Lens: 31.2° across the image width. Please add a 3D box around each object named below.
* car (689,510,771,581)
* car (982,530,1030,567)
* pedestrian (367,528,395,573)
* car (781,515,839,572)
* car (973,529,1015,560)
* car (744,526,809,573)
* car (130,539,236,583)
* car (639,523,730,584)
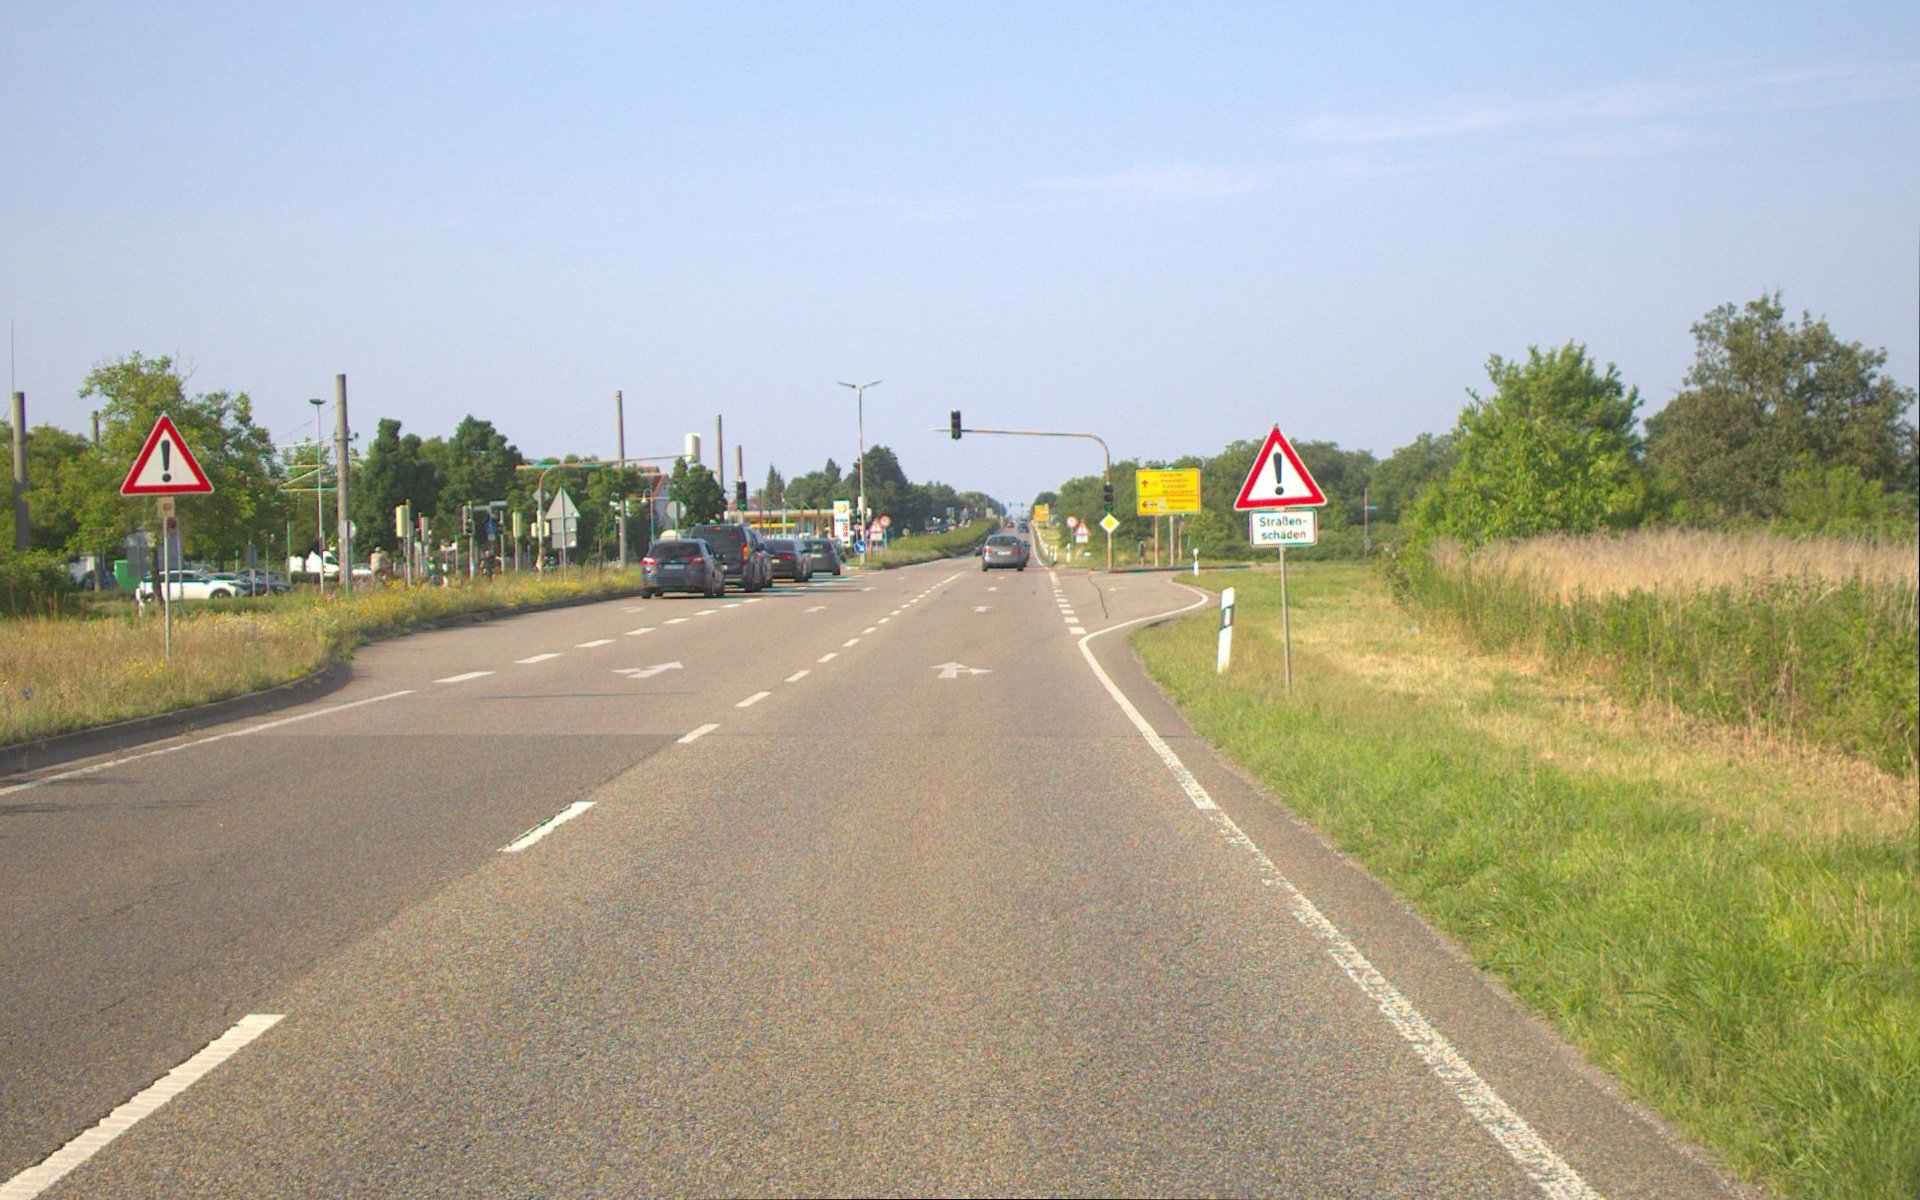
[{"bbox_3d":[-6.168,-1.479,92.590,1.732,1.849,4.520,-1,1,2],"label":"car"},{"bbox_3d":[2.007,-2.235,149.419,1.993,1.546,4.000,-1,1,2],"label":"car"},{"bbox_3d":[-21.995,-1.882,130.562,0.915,1.700,1.067,1,0,-4],"label":"pedestrian"},{"bbox_3d":[-5.741,-2.156,131.548,1.993,2.007,4.837,-1,-1,-5],"label":"car"},{"bbox_3d":[1.749,-2.853,175.459,1.993,1.546,4.000,-1,1,2],"label":"car"},{"bbox_3d":[-5.946,-1.646,111.857,1.770,1.466,4.015,-1,1,2],"label":"car"},{"bbox_3d":[-30.725,-1.531,136.101,3.986,1.656,1.888,1,0,-10],"label":"car"},{"bbox_3d":[-6.810,-1.170,85.281,1.732,1.451,4.520,-1,1,2],"label":"car"}]
